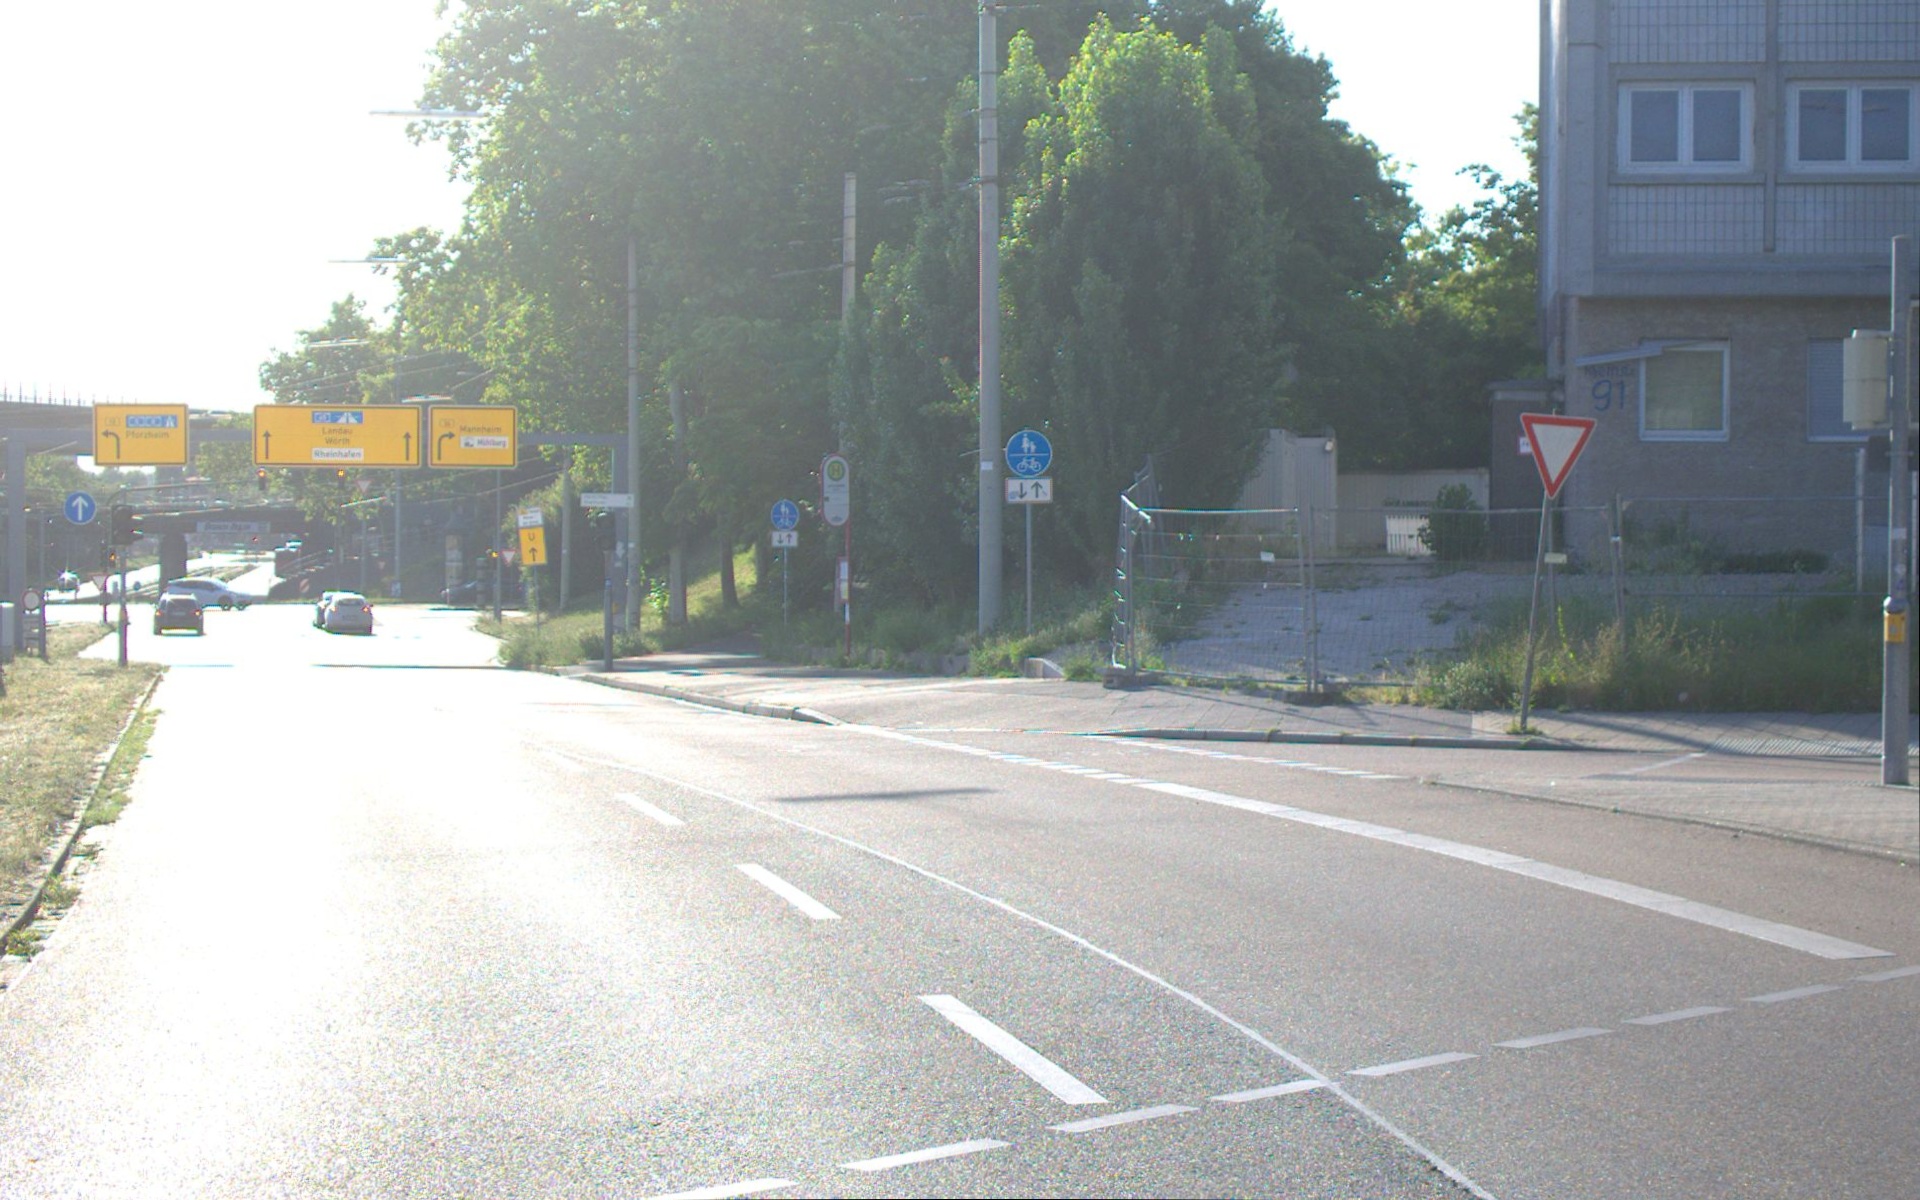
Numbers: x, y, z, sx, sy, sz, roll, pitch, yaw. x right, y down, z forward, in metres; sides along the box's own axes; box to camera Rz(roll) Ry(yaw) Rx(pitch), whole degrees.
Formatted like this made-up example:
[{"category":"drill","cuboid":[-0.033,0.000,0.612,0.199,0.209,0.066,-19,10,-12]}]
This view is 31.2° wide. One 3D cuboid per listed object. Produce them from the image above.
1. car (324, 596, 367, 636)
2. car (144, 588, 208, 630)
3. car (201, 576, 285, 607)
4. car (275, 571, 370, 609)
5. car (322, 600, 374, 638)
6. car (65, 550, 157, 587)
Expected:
[{"category":"car","cuboid":[-23.337,0.597,130.575,1.514,1.383,3.364,1,2,-9]},{"category":"car","cuboid":[-28.485,0.306,125.052,2.037,1.441,4.001,-1,1,-10]},{"category":"car","cuboid":[-34.743,-0.425,166.664,3.986,1.441,1.775,-1,1,-11]},{"category":"car","cuboid":[-35.610,-0.551,192.144,4.848,2.006,1.999,1,2,8]},{"category":"car","cuboid":[-24.441,0.758,137.297,2.037,1.441,4.001,0,0,-10]},{"category":"car","cuboid":[-49.336,-1.844,199.893,4.786,2.006,1.999,1,2,10]}]
